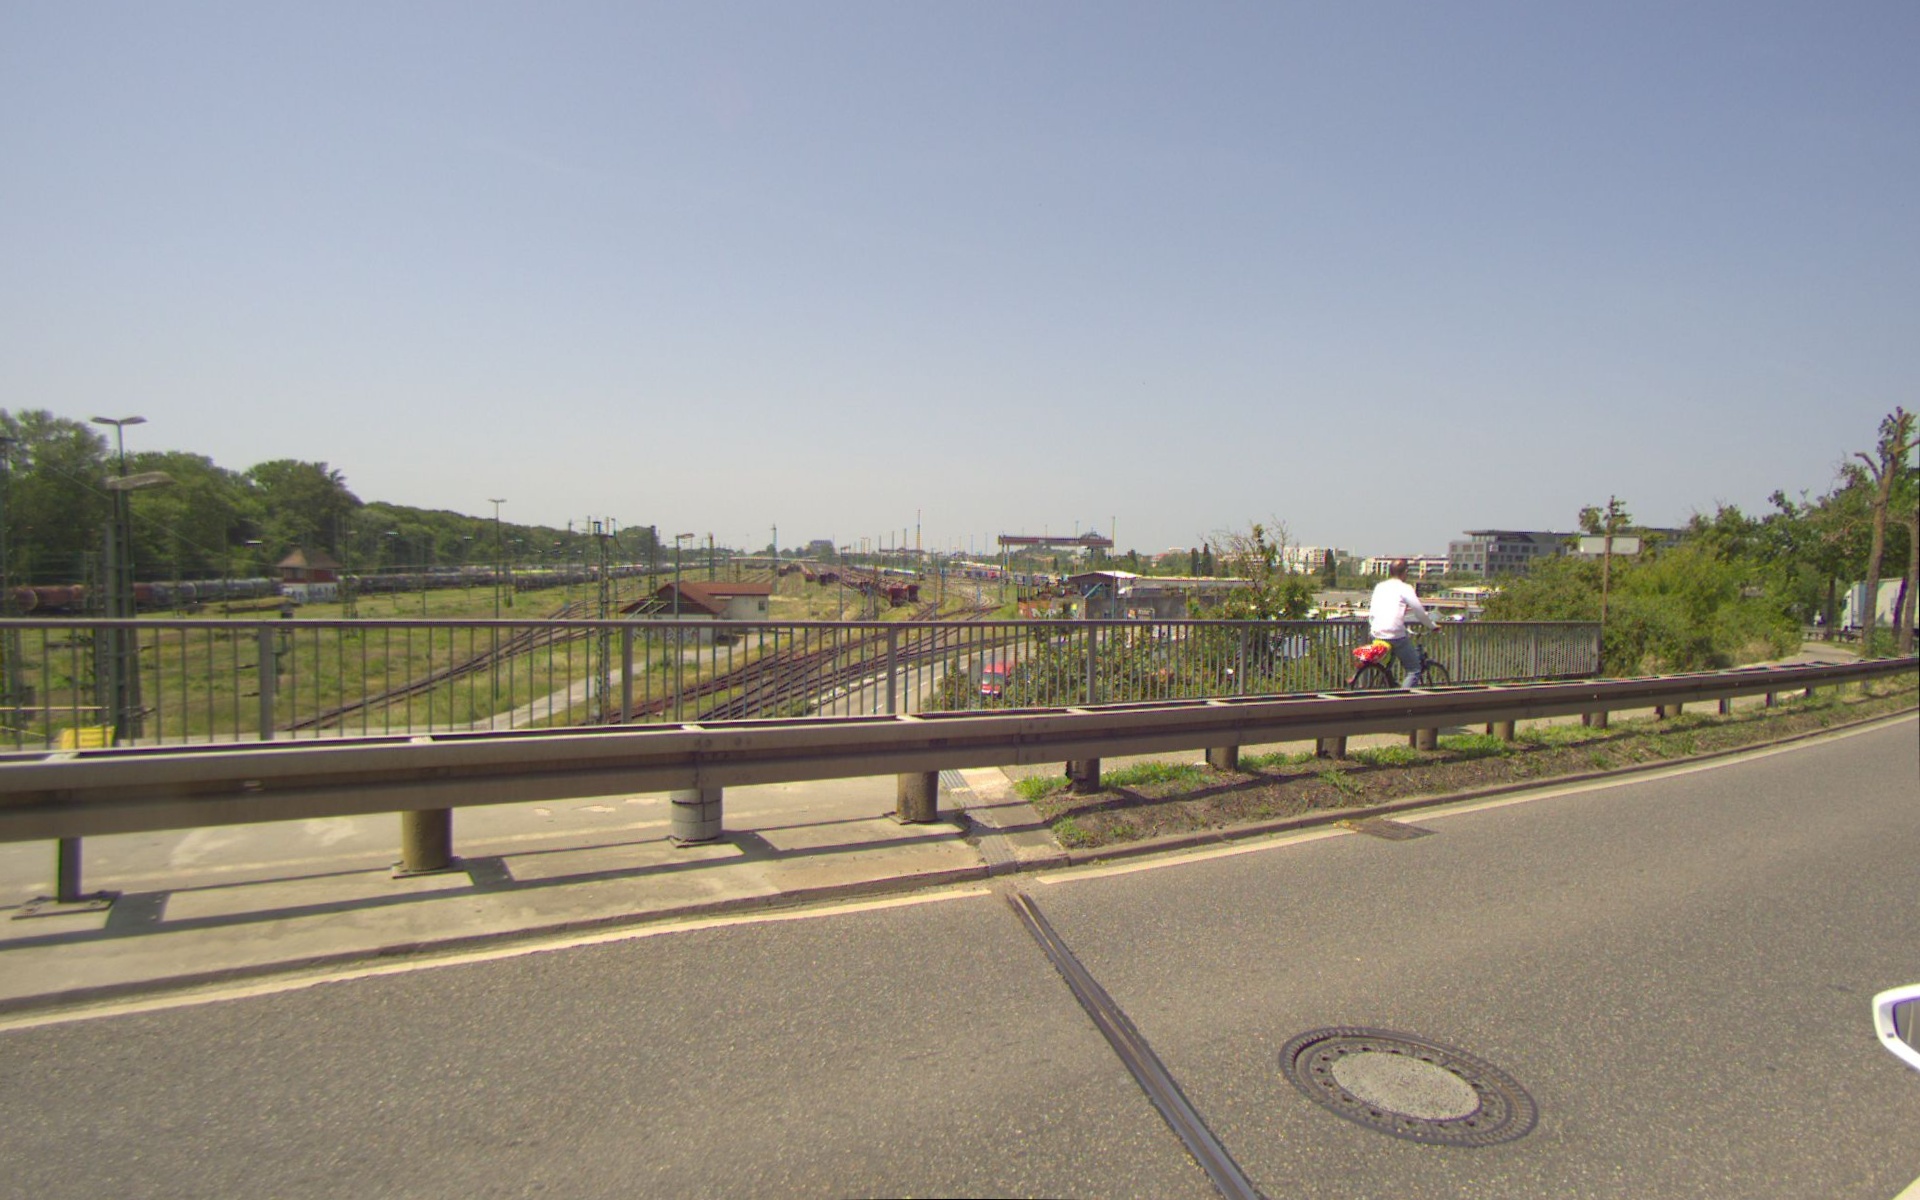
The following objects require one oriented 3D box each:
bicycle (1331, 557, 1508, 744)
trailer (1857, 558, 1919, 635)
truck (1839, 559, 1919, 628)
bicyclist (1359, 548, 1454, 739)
[{"bbox_3d":[4.914,0.481,10.679,2.158,1.826,0.693,-1,1,-35],"label":"bicycle"},{"bbox_3d":[59.323,-0.250,62.078,3.518,4.443,11.416,1,1,30],"label":"trailer"},{"bbox_3d":[63.205,-0.471,68.709,3.521,4.501,6.499,1,1,31],"label":"truck"},{"bbox_3d":[4.654,0.428,10.487,0.705,1.911,0.620,-1,1,-34],"label":"bicyclist"}]
